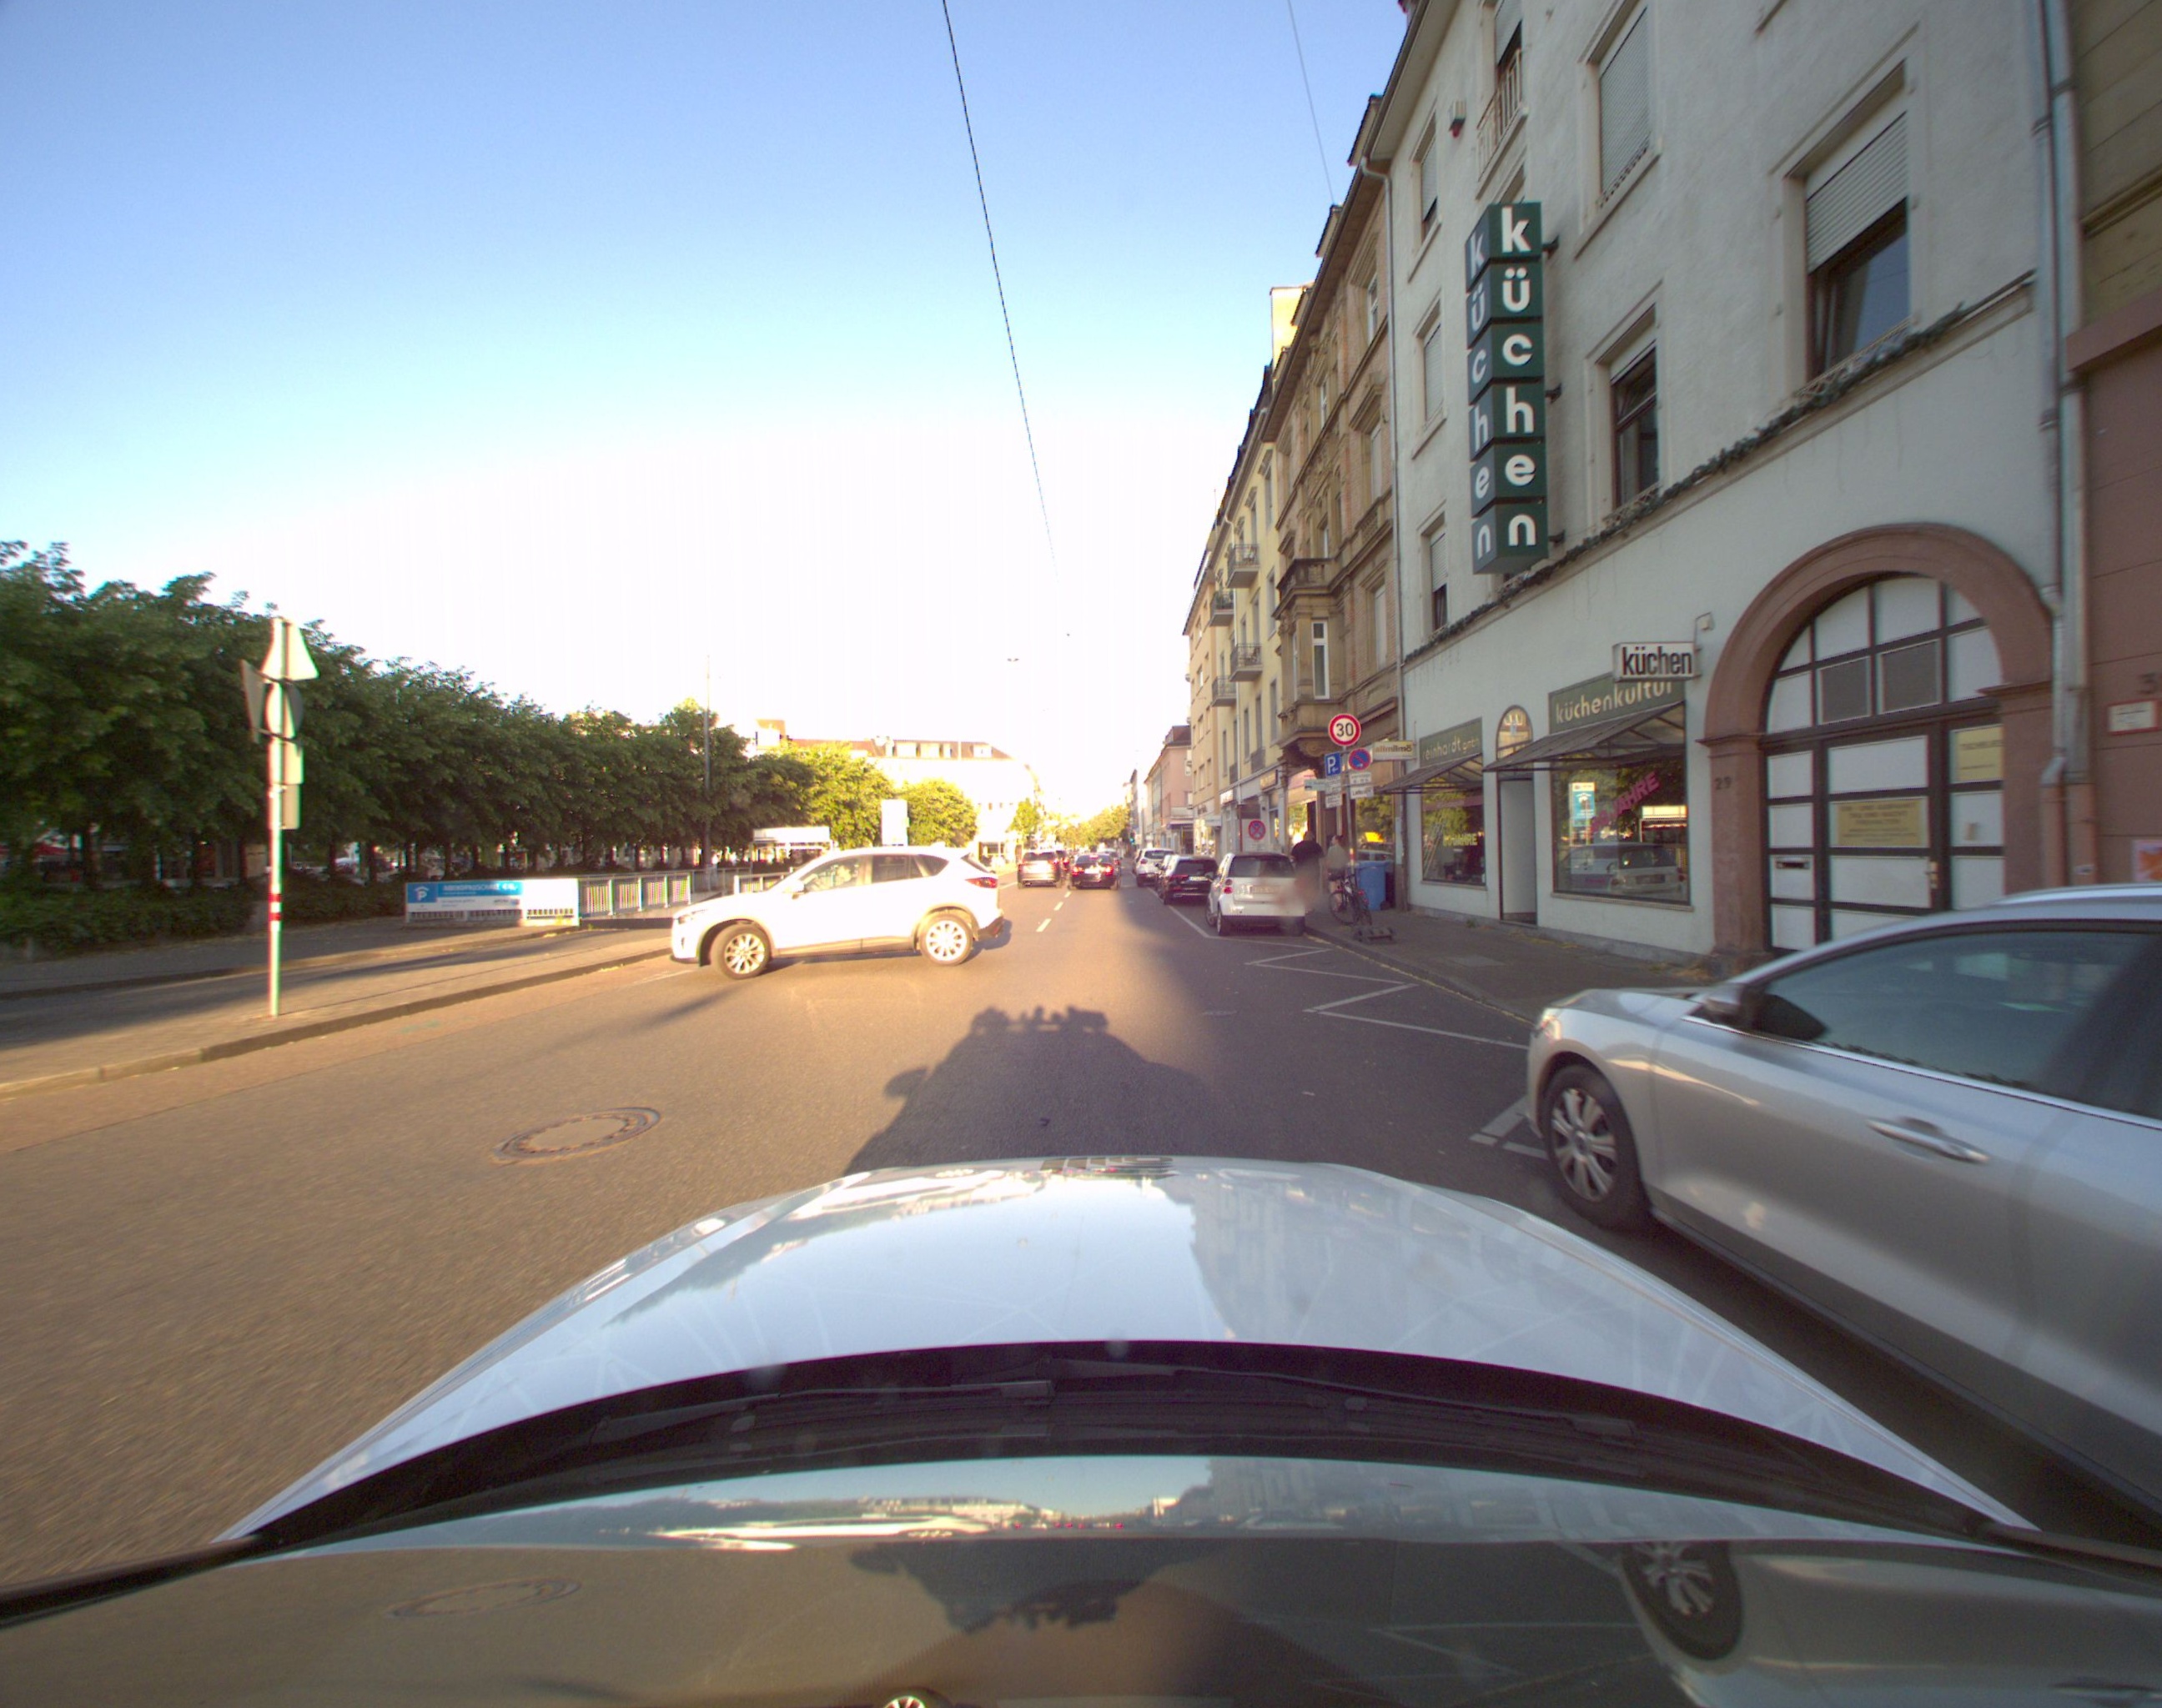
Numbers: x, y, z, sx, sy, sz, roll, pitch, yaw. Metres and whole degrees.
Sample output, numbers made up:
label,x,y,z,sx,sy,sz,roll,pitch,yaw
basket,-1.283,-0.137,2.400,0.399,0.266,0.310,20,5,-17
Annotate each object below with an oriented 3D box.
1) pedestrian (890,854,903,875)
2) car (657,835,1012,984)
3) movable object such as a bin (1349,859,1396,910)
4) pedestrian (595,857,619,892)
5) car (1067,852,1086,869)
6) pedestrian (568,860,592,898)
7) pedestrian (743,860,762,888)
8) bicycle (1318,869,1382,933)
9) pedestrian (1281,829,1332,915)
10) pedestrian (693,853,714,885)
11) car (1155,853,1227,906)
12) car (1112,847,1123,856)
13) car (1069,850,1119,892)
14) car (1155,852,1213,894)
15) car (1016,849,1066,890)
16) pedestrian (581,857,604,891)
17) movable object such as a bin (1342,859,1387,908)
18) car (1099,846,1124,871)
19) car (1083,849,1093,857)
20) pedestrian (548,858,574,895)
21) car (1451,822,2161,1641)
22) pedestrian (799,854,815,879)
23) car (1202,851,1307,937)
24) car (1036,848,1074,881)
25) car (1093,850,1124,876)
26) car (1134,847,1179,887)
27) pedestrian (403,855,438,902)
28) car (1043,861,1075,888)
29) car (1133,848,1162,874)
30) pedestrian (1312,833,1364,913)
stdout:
label,x,y,z,sx,sy,sz,roll,pitch,yaw
pedestrian,-14.122,0.831,62.380,0.783,1.595,0.571,-1,0,20
car,-3.354,0.689,11.738,4.455,1.761,1.991,-2,0,-13
movable object such as a bin,6.488,0.668,18.151,0.772,1.070,0.618,-4,0,0
pedestrian,-22.291,0.959,38.317,0.783,1.595,0.571,-1,0,20
car,-0.402,0.614,76.946,1.773,1.547,4.000,-1,0,0
pedestrian,-21.738,1.080,35.314,0.672,1.595,0.571,-1,0,20
pedestrian,-18.538,1.123,45.976,0.672,1.595,0.680,-1,0,20
bicycle,4.803,0.815,14.674,0.502,1.016,1.947,-2,0,0
pedestrian,5.009,0.394,18.167,0.770,1.827,1.011,-3,0,1
pedestrian,-19.557,0.770,42.172,0.672,1.595,0.680,-1,0,20
car,3.260,0.726,24.887,1.723,1.448,4.526,0,0,2
car,6.873,-0.502,154.380,1.890,1.581,3.852,-2,1,1
car,0.518,0.638,32.931,1.890,1.581,4.000,0,0,1
car,3.727,0.659,30.083,1.723,1.448,4.475,0,0,2
car,-1.681,0.629,35.691,1.890,1.649,4.105,-1,0,1
pedestrian,-23.219,0.939,38.722,0.783,1.595,0.571,-1,0,20
movable object such as a bin,6.548,0.666,18.804,0.772,1.070,0.618,-4,0,0
car,2.600,0.352,69.581,1.986,2.013,4.002,1,0,2
car,1.333,-0.274,158.744,1.773,1.547,4.000,-1,0,0
pedestrian,-22.679,0.967,35.506,0.783,1.595,0.571,-1,0,20
car,2.906,0.717,2.026,1.753,1.536,4.820,0,0,-1
pedestrian,-17.326,0.776,51.463,0.783,1.595,0.571,-1,0,20
car,3.357,0.732,16.259,1.526,1.536,3.285,0,0,3
car,-1.360,0.533,44.077,1.890,1.649,4.104,-1,0,1
car,1.683,0.526,50.752,1.890,1.581,4.000,0,0,1
car,3.291,0.561,36.027,1.723,1.650,4.286,0,0,2
pedestrian,-22.656,0.834,27.950,0.703,1.595,0.673,-1,0,-17
car,-1.316,1.228,50.133,1.773,1.547,4.000,-1,0,0
car,4.322,0.467,53.508,1.723,1.652,3.972,0,0,2
pedestrian,5.745,0.403,18.269,0.770,1.711,1.042,-3,0,1
